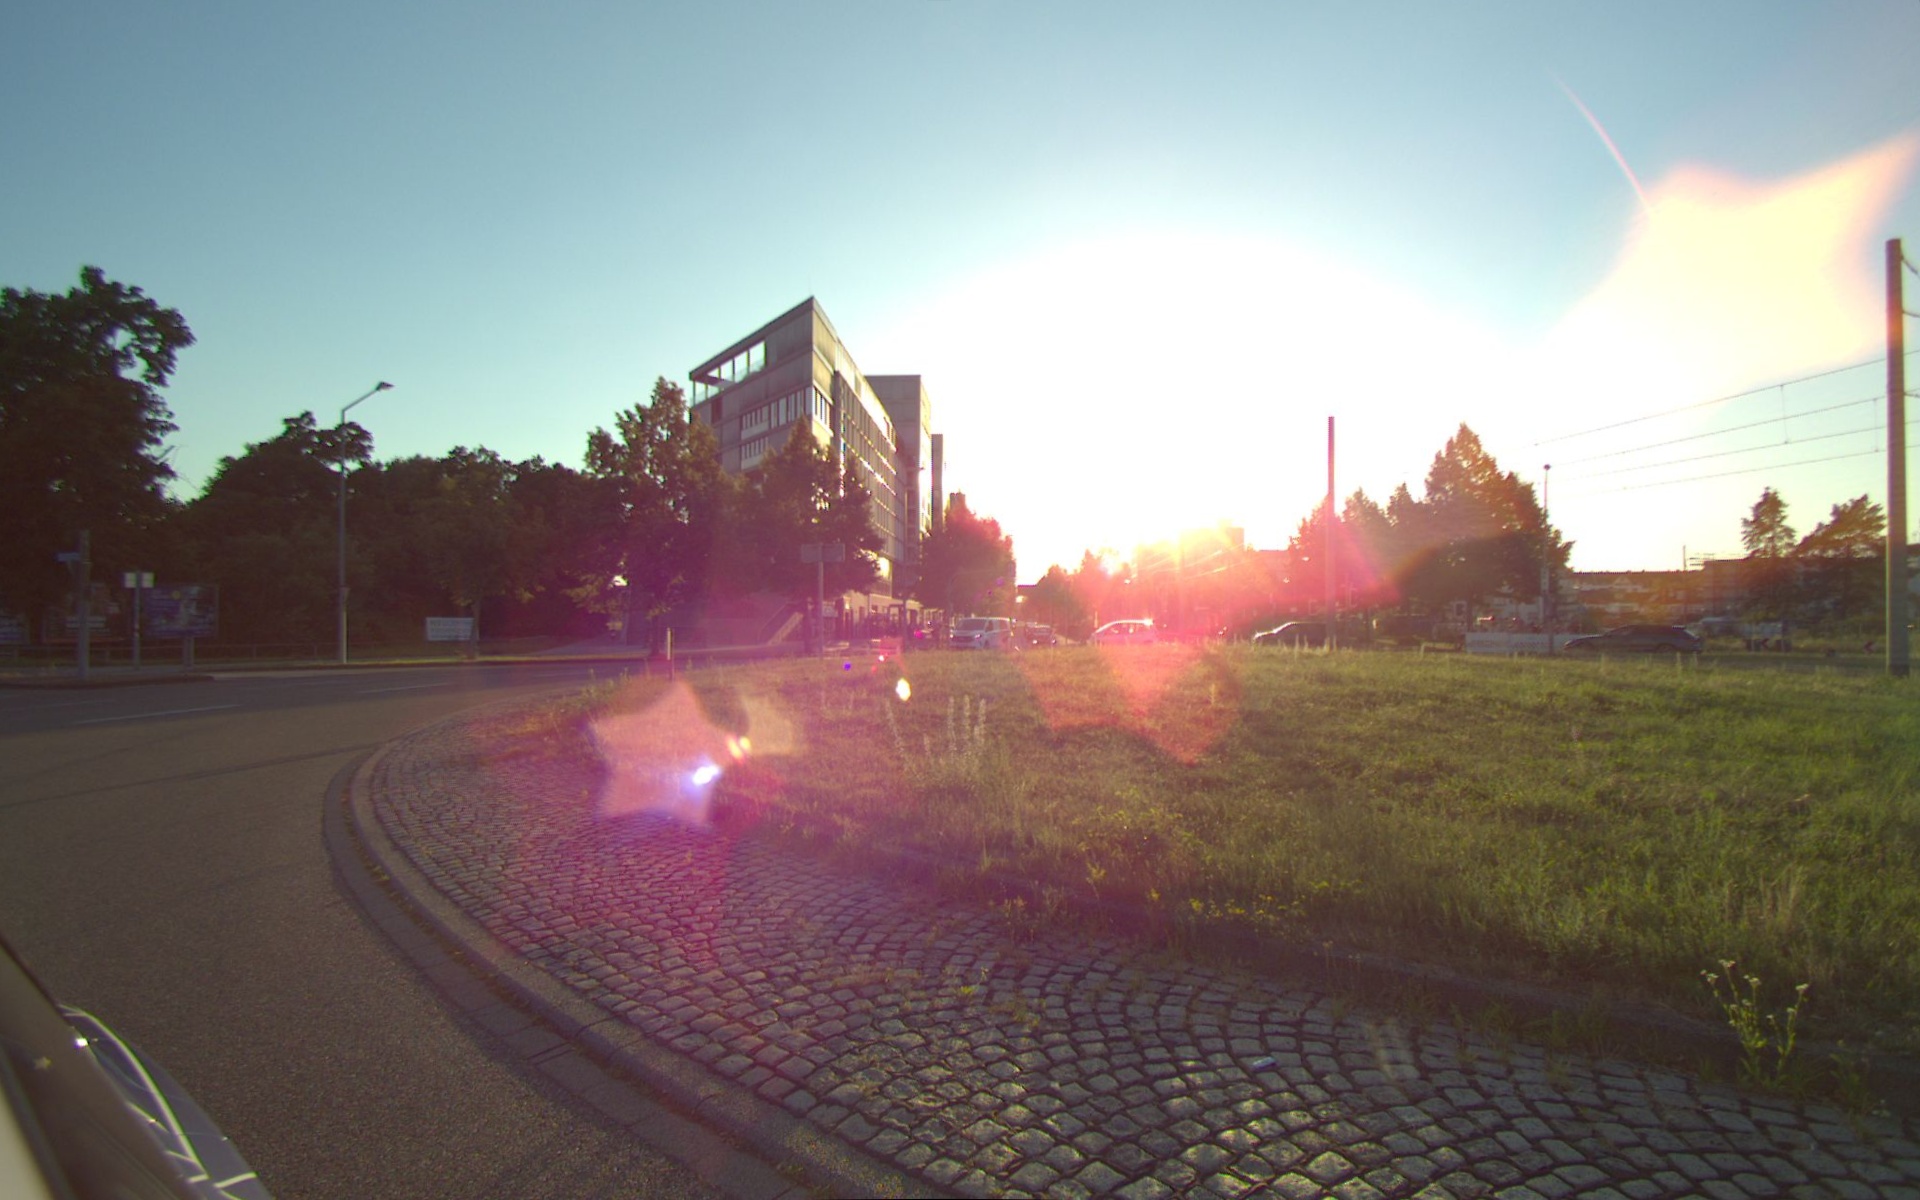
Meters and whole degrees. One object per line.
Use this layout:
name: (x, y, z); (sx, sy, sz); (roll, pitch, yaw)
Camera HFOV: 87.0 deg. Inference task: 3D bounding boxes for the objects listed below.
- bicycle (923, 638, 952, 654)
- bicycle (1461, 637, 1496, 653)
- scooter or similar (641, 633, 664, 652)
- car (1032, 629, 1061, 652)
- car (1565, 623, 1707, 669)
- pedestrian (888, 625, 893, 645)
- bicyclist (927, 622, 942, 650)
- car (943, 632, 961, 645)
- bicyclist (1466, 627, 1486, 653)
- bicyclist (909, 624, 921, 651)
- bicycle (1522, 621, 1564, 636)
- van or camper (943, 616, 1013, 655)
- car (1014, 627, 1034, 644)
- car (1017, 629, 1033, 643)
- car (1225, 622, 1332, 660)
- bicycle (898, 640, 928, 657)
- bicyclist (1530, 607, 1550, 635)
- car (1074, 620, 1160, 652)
bicycle: (-1.453, 2.958, 64.944); (1.843, 1.030, 0.436); (-1, -2, 11)
bicycle: (32.089, 2.773, 62.651); (1.821, 0.988, 0.549); (-1, -2, 7)
scooter or similar: (-20.684, 2.861, 68.043); (1.562, 1.229, 0.365); (-1, -2, 14)
car: (6.351, 2.931, 74.032); (1.727, 1.548, 3.986); (-1, -1, 11)
car: (27.528, 1.844, 41.302); (4.596, 1.761, 1.727); (-2, -3, 42)
pedestrian: (-7.123, 3.615, 103.679); (0.532, 2.029, 0.527); (-1, -2, 3)
bicyclist: (-1.616, 2.312, 64.575); (0.840, 1.769, 0.801); (-1, -2, 10)
car: (-0.884, 4.382, 115.733); (1.779, 1.475, 3.996); (0, -2, 3)
bicyclist: (31.944, 2.472, 62.653); (0.805, 1.653, 0.813); (-1, -2, 7)
bicyclist: (-2.824, 2.354, 63.250); (0.674, 1.660, 0.685); (0, -2, -6)
bicycle: (34.692, 1.719, 60.255); (0.504, 0.852, 2.140); (1, -3, -37)
van or camper: (1.006, 1.821, 53.063); (1.986, 1.972, 5.290); (-1, -1, 21)
car: (6.310, 3.521, 99.815); (1.756, 1.633, 3.992); (0, -1, 6)
car: (7.967, 4.411, 123.232); (1.756, 1.633, 3.992); (0, -1, 6)
car: (15.024, 1.922, 47.880); (4.542, 1.761, 1.747); (-1, -2, 7)
bicycle: (-2.918, 3.007, 63.020); (1.834, 1.030, 0.308); (0, -2, -6)
bicyclist: (34.560, 1.284, 60.352); (0.684, 1.646, 0.800); (1, -3, -37)
car: (7.337, 1.672, 47.538); (3.653, 1.476, 1.608); (0, -2, -5)
